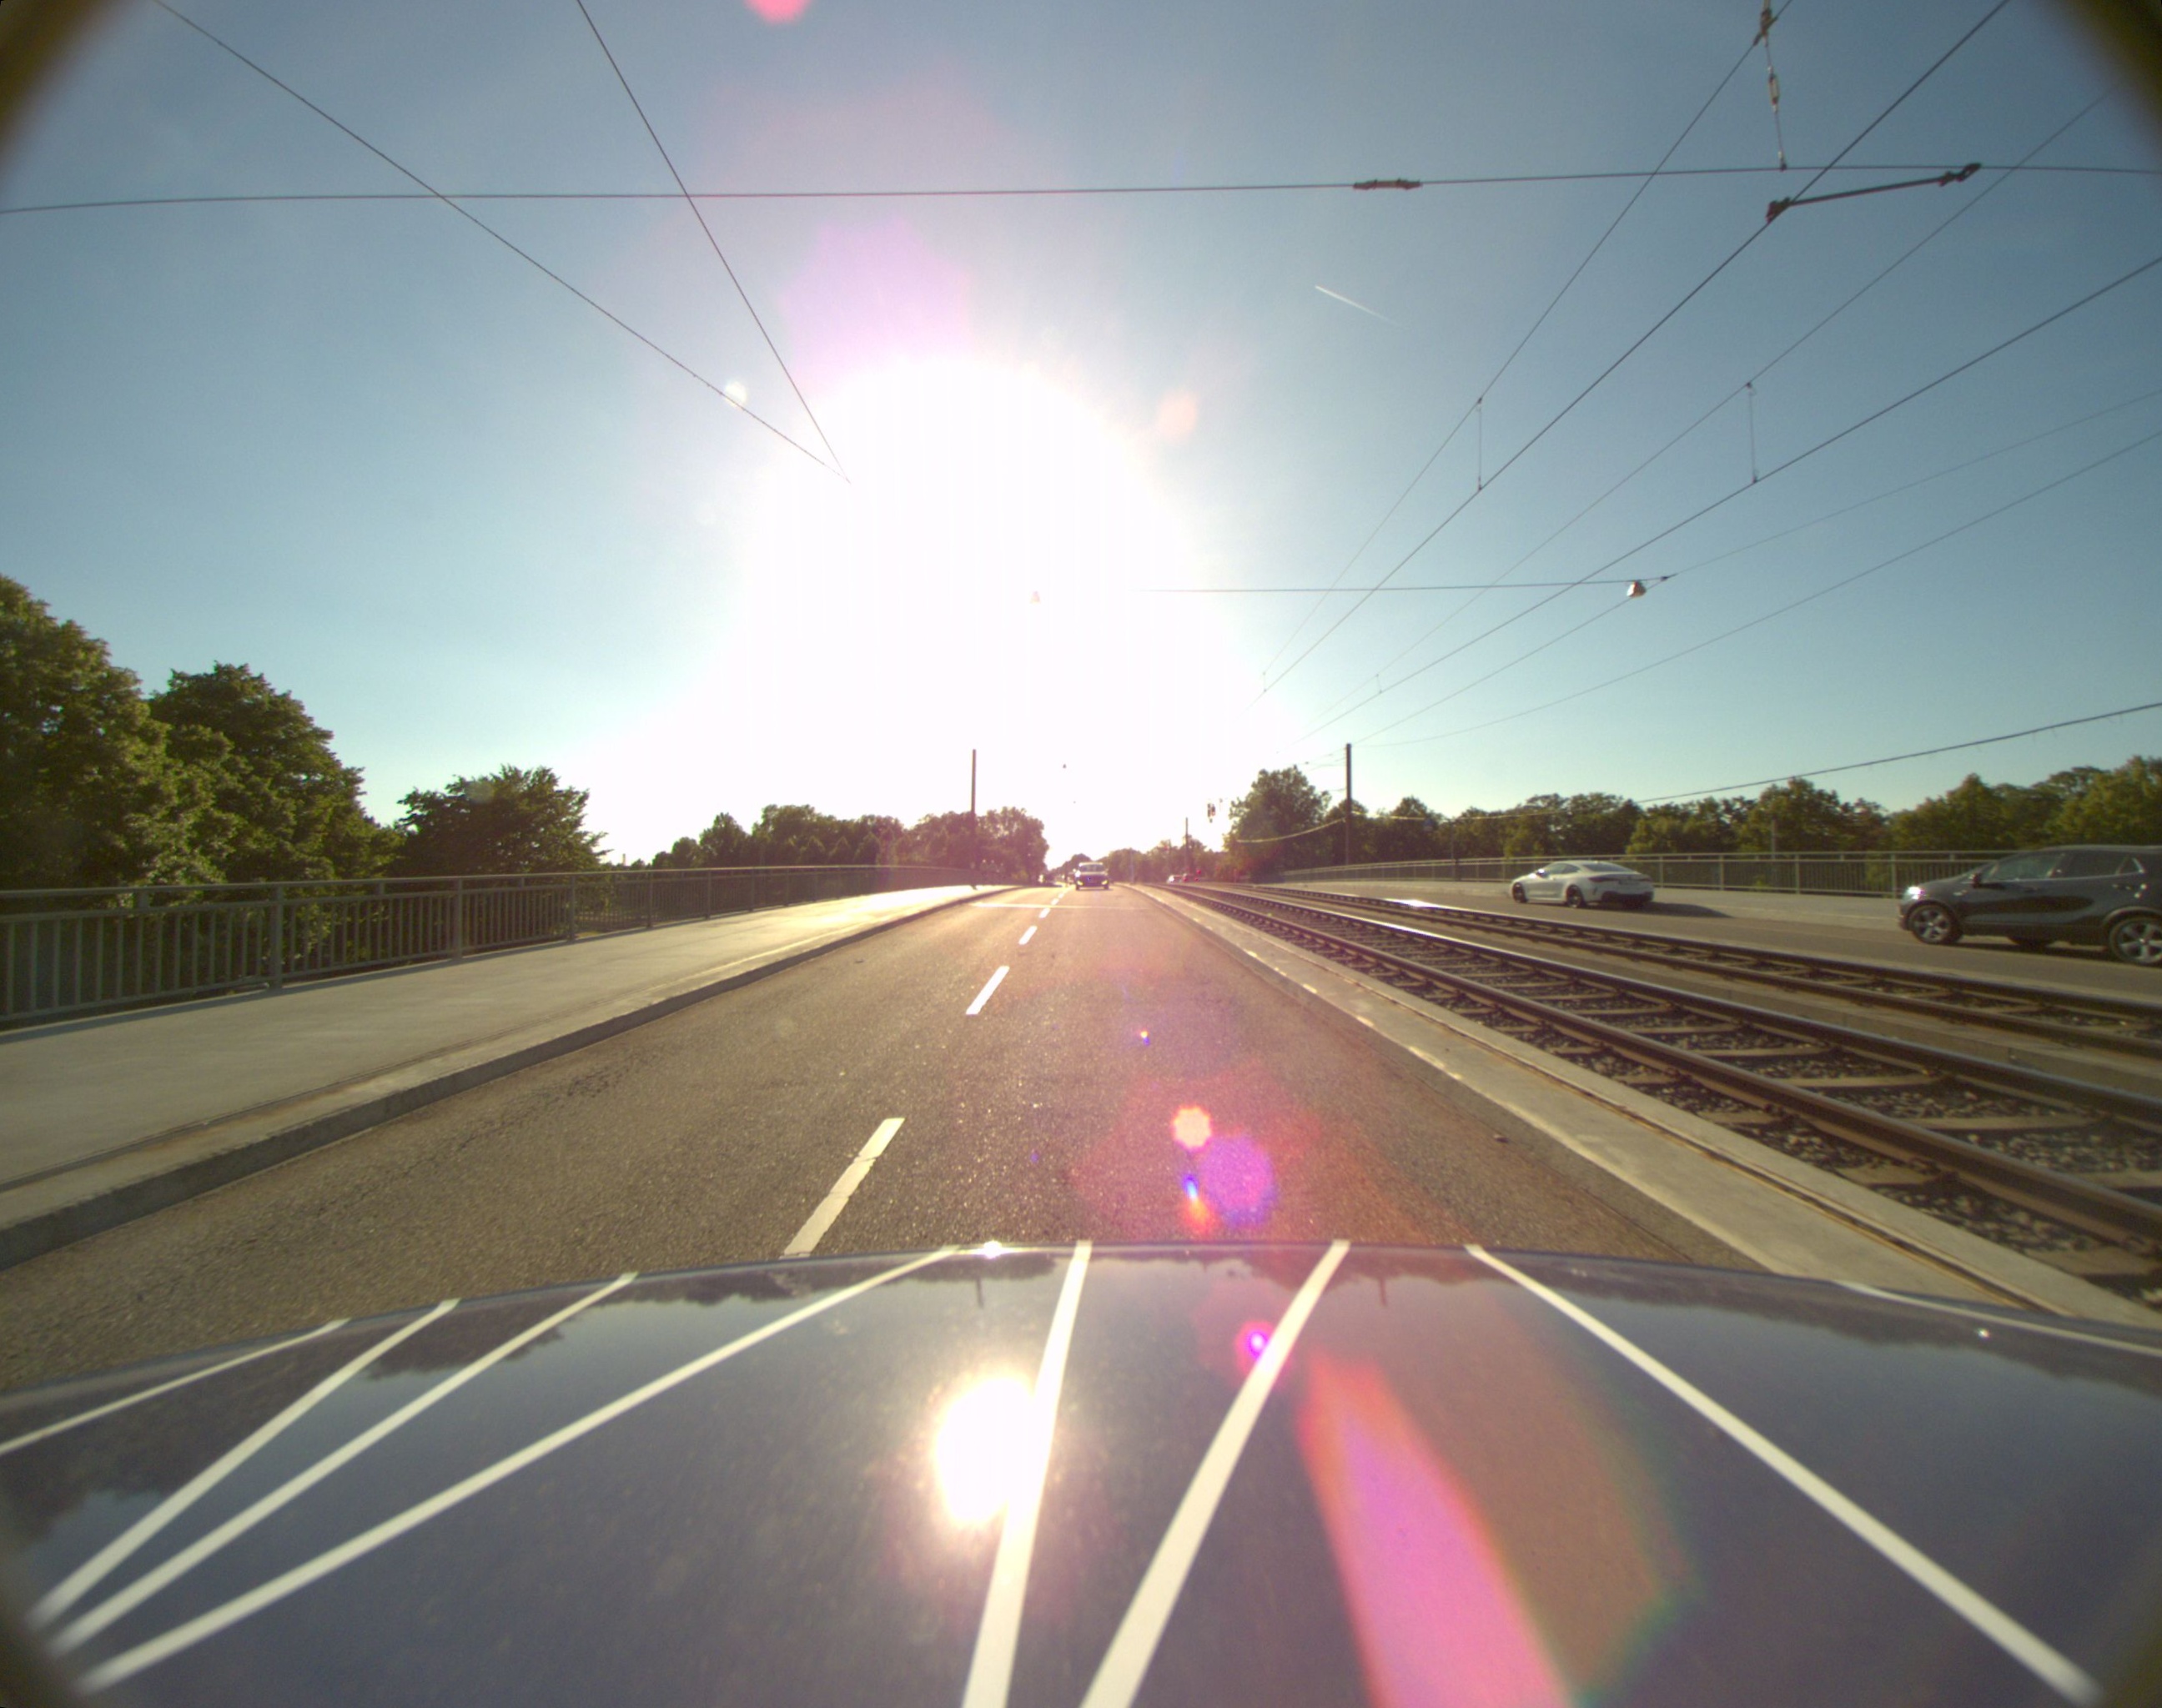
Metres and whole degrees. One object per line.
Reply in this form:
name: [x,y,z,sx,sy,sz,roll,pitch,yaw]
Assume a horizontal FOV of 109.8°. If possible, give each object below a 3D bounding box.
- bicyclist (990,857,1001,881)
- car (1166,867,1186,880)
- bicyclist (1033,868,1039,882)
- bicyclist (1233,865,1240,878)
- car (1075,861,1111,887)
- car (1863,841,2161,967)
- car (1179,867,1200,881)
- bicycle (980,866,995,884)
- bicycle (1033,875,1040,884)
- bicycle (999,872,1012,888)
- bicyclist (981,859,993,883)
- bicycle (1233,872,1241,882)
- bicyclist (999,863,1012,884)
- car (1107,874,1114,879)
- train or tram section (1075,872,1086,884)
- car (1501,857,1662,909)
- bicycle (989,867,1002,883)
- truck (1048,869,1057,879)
bicyclist: [-5.916,1.045,52.374,0.626,1.583,0.931,-1,-1,0]
car: [12.424,2.539,99.738,2.006,1.627,5.091,-1,-1,0]
bicyclist: [-5.683,2.638,96.045,0.733,1.679,1.202,-3,-1,-3]
bicyclist: [18.459,2.074,90.101,0.626,1.623,0.936,-1,-1,3]
car: [0.583,1.066,40.115,1.802,1.345,4.001,0,-2,0]
car: [15.036,0.692,11.511,1.784,1.640,4.447,2,0,0]
car: [12.203,2.314,85.875,1.812,1.510,4.002,1,-2,1]
bicycle: [-5.942,1.353,48.220,0.626,1.115,2.260,-1,-2,0]
bicycle: [-5.631,3.256,96.009,0.733,1.115,2.742,-3,-2,-3]
bicycle: [-5.618,1.937,56.631,0.685,1.115,2.217,-1,-3,0]
bicyclist: [-5.960,1.087,48.186,0.626,1.499,1.006,-1,-1,0]
bicycle: [18.464,2.720,89.963,0.626,1.115,2.261,-1,-1,4]
bicyclist: [-5.620,1.463,56.666,0.814,1.552,0.897,-1,-2,0]
car: [8.687,6.603,221.050,1.853,1.493,4.220,-1,-1,0]
train or tram section: [-0.280,7.543,238.823,2.570,3.877,11.670,-1,-1,-4]
car: [15.023,0.794,23.213,1.688,1.348,4.920,1,0,0]
bicycle: [-5.870,1.443,52.386,0.626,1.115,2.042,-1,-1,0]
truck: [-9.634,6.717,258.067,2.611,3.185,7.869,-1,-1,-4]
